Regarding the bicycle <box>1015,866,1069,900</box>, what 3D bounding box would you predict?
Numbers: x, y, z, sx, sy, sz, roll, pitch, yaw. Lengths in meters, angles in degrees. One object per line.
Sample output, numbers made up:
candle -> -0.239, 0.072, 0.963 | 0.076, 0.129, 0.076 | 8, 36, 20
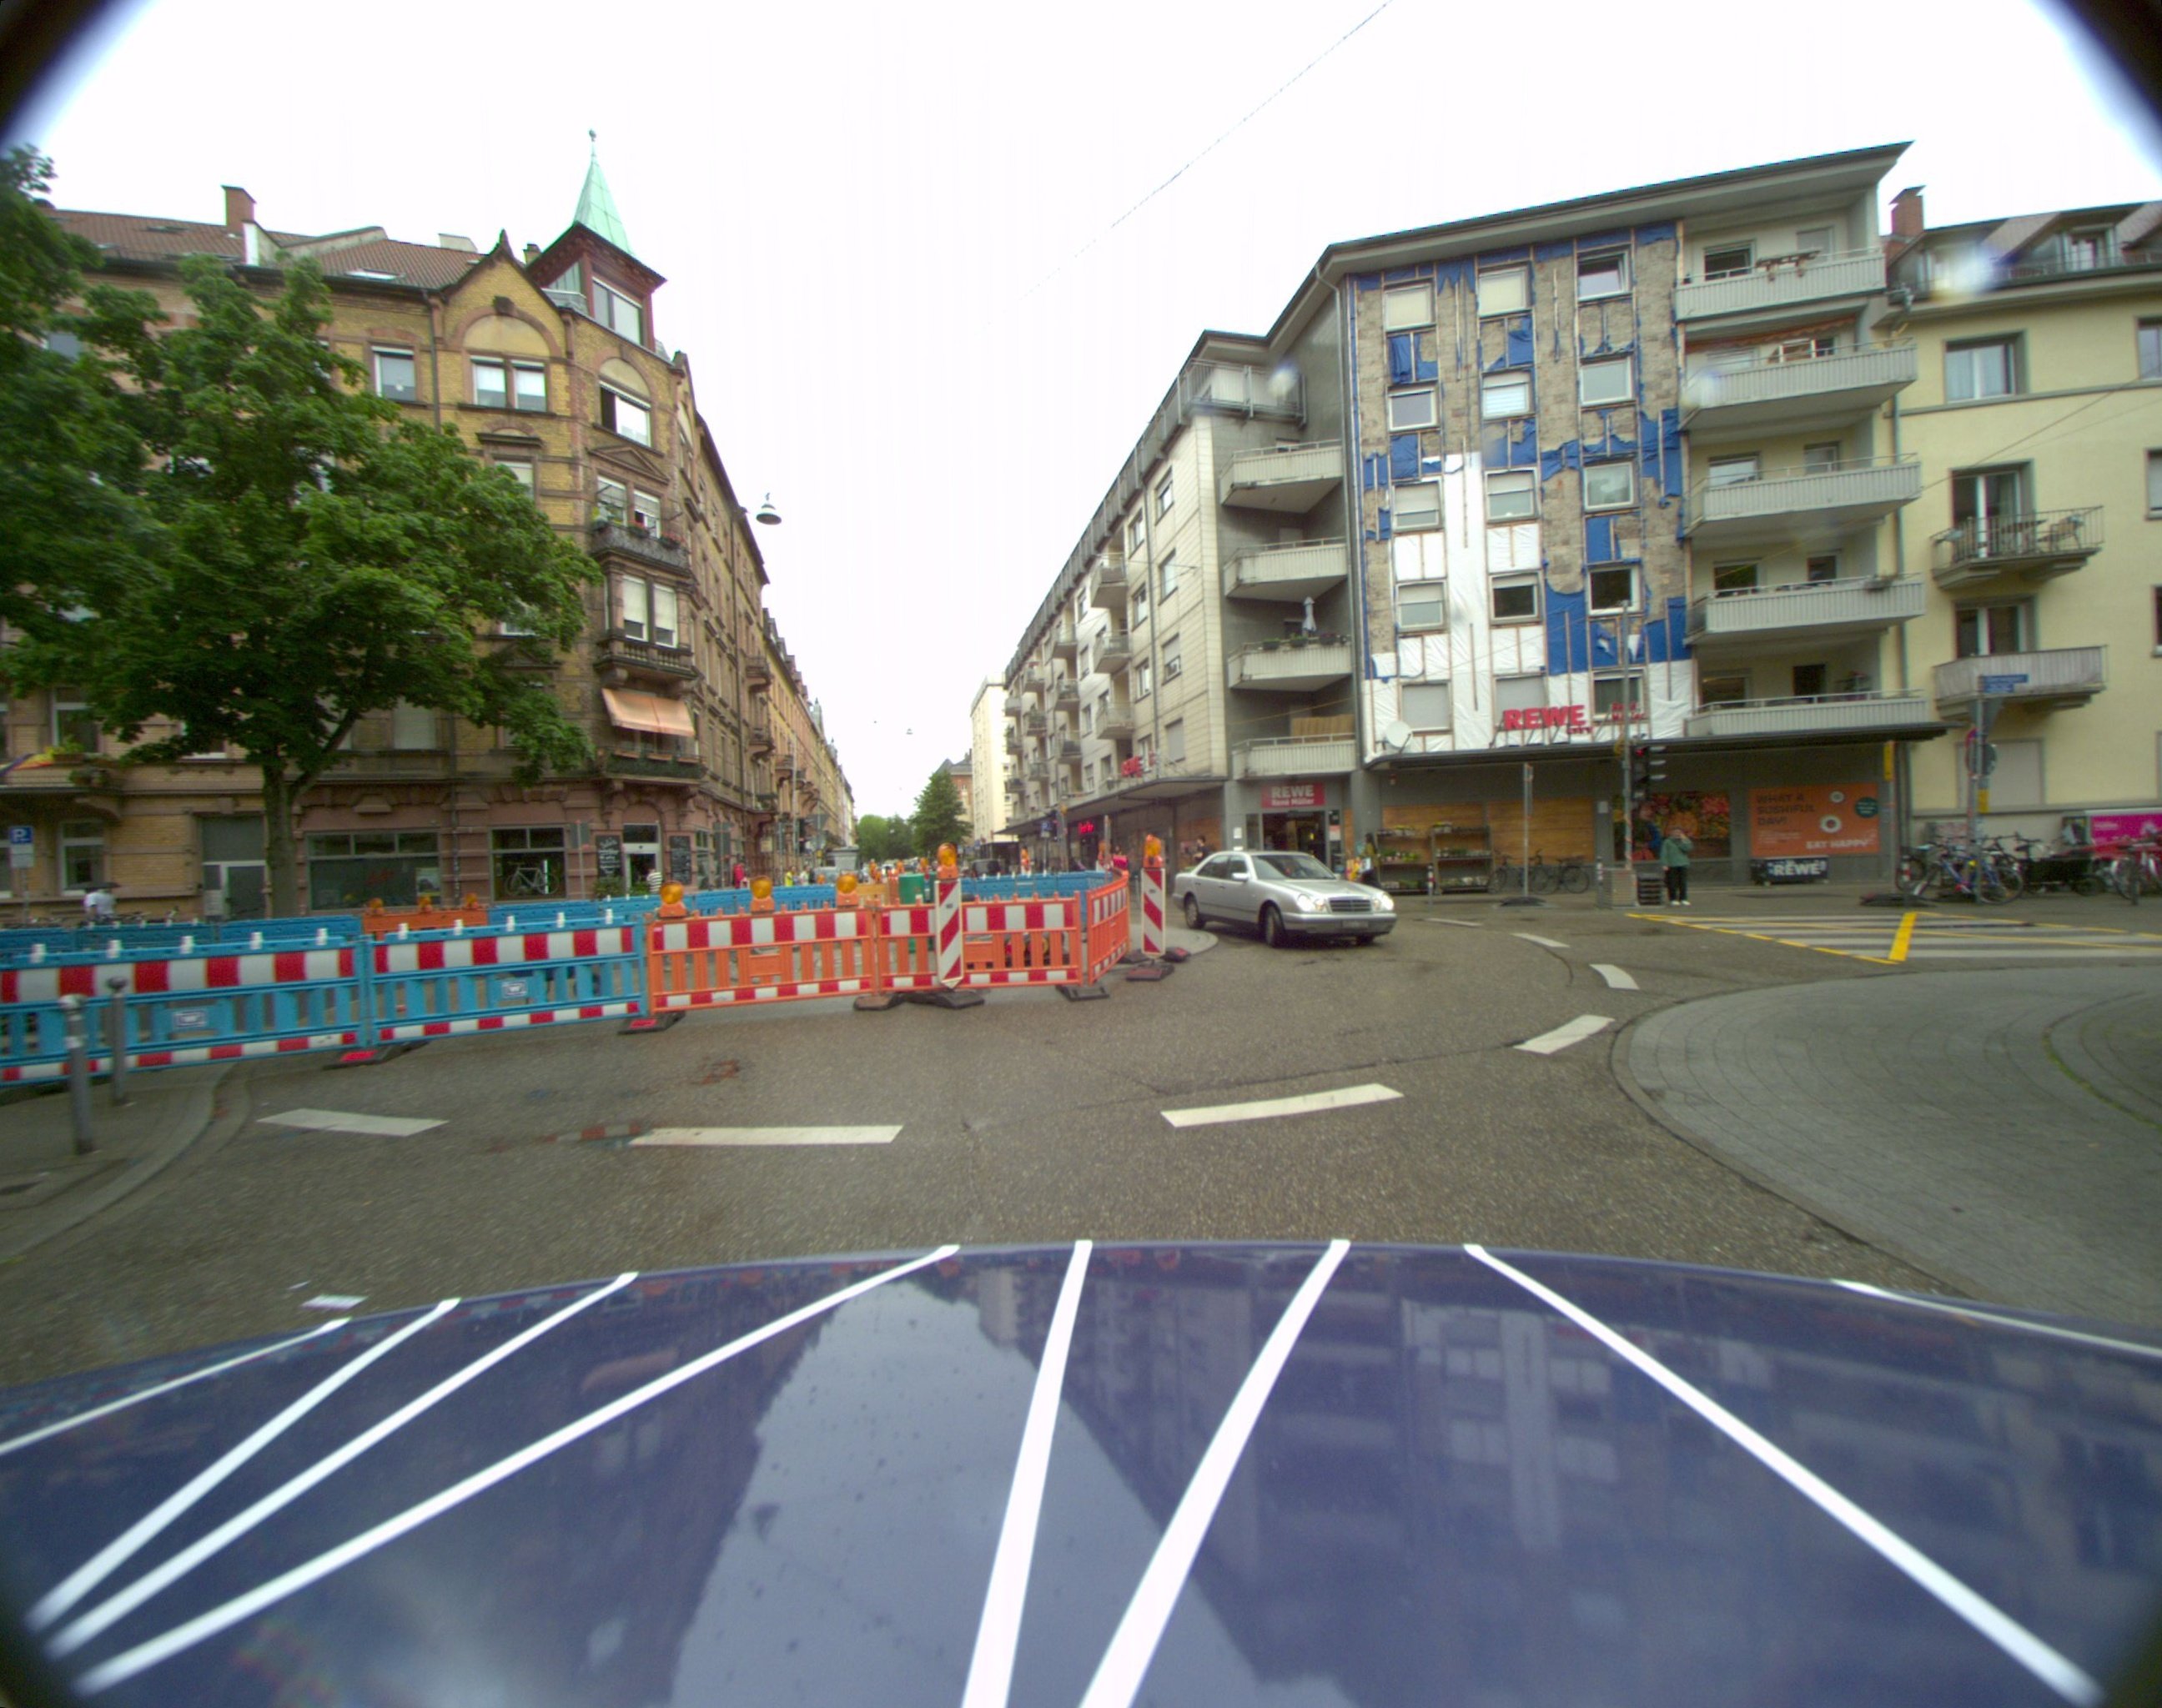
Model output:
bicycle -> -1.580, 1.163, 30.800 | 2.033, 1.189, 0.550 | -5, 1, -8

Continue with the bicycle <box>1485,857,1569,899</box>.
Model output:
bicycle -> 11.058, 0.605, 18.855 | 1.687, 0.965, 0.569 | -3, 0, 41

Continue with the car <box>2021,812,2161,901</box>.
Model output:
car -> 21.523, 0.005, 14.256 | 2.002, 1.670, 4.452 | -3, 0, -19

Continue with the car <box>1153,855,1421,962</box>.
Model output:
car -> 3.150, 0.763, 12.950 | 1.862, 1.390, 4.972 | -2, 0, -20

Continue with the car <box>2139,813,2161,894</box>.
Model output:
car -> 23.931, -0.086, 14.196 | 2.001, 1.661, 4.452 | -3, 0, -19

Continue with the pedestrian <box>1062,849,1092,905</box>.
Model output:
pedestrian -> -0.133, 0.768, 25.793 | 0.863, 1.837, 0.769 | -3, 0, -6

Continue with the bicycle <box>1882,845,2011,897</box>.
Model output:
bicycle -> 18.339, 0.346, 16.114 | 1.999, 0.966, 0.589 | -3, 2, 2

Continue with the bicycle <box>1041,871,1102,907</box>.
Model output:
bicycle -> -0.309, 1.171, 25.660 | 1.897, 1.028, 0.660 | -5, 1, -28

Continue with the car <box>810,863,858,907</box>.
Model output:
car -> -11.282, 1.368, 34.717 | 1.904, 1.779, 3.994 | -3, 0, -18

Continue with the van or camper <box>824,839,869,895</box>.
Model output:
van or camper -> -15.232, 0.812, 49.694 | 2.414, 3.308, 7.064 | -3, 0, -15

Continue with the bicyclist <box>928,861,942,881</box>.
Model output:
bicyclist -> -12.232, 1.410, 63.588 | 0.994, 1.591, 1.260 | -3, 0, -16

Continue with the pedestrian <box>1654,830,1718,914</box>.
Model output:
pedestrian -> 11.957, 0.346, 15.037 | 0.798, 1.606, 0.605 | -3, 1, 21

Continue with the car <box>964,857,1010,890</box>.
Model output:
car -> -5.622, 1.127, 44.892 | 1.904, 1.779, 3.994 | -3, 0, -18

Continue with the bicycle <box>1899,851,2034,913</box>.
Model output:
bicycle -> 16.088, 0.472, 13.882 | 0.588, 0.966, 2.003 | -3, 2, 15

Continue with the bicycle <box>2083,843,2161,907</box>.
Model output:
bicycle -> 18.794, 0.349, 13.512 | 2.003, 0.966, 0.588 | -4, 2, -19

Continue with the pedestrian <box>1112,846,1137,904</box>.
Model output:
pedestrian -> 1.414, 0.666, 24.719 | 0.605, 1.837, 0.769 | -3, 0, -6

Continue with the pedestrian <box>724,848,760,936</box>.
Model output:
pedestrian -> -10.267, 1.134, 23.028 | 0.539, 2.594, 0.697 | -2, 2, 44

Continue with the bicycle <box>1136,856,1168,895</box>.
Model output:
bicycle -> 2.592, 0.772, 27.885 | 0.450, 1.366, 2.021 | -5, 1, -12

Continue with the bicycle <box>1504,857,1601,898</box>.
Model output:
bicycle -> 11.880, 0.569, 19.182 | 1.995, 0.965, 0.591 | 0, 2, 41

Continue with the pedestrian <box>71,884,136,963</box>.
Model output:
pedestrian -> -24.864, 1.752, 19.338 | 0.640, 1.908, 0.673 | -3, 1, -13

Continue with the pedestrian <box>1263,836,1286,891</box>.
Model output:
pedestrian -> 5.798, 0.278, 22.739 | 0.544, 1.575, 0.695 | -2, 1, 21

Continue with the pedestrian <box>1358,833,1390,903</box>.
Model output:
pedestrian -> 7.621, 0.356, 19.786 | 0.692, 1.755, 0.865 | -3, 1, 21

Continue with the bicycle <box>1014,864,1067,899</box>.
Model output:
bicycle -> -1.681, 1.122, 31.391 | 2.023, 1.271, 0.550 | -5, 1, -8

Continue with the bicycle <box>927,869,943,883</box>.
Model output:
bicycle -> -12.215, 1.820, 63.600 | 0.994, 1.149, 2.873 | -3, 0, -15

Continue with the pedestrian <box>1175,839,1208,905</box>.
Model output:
pedestrian -> 3.213, 0.517, 22.089 | 0.718, 1.886, 0.605 | -3, 1, 21
